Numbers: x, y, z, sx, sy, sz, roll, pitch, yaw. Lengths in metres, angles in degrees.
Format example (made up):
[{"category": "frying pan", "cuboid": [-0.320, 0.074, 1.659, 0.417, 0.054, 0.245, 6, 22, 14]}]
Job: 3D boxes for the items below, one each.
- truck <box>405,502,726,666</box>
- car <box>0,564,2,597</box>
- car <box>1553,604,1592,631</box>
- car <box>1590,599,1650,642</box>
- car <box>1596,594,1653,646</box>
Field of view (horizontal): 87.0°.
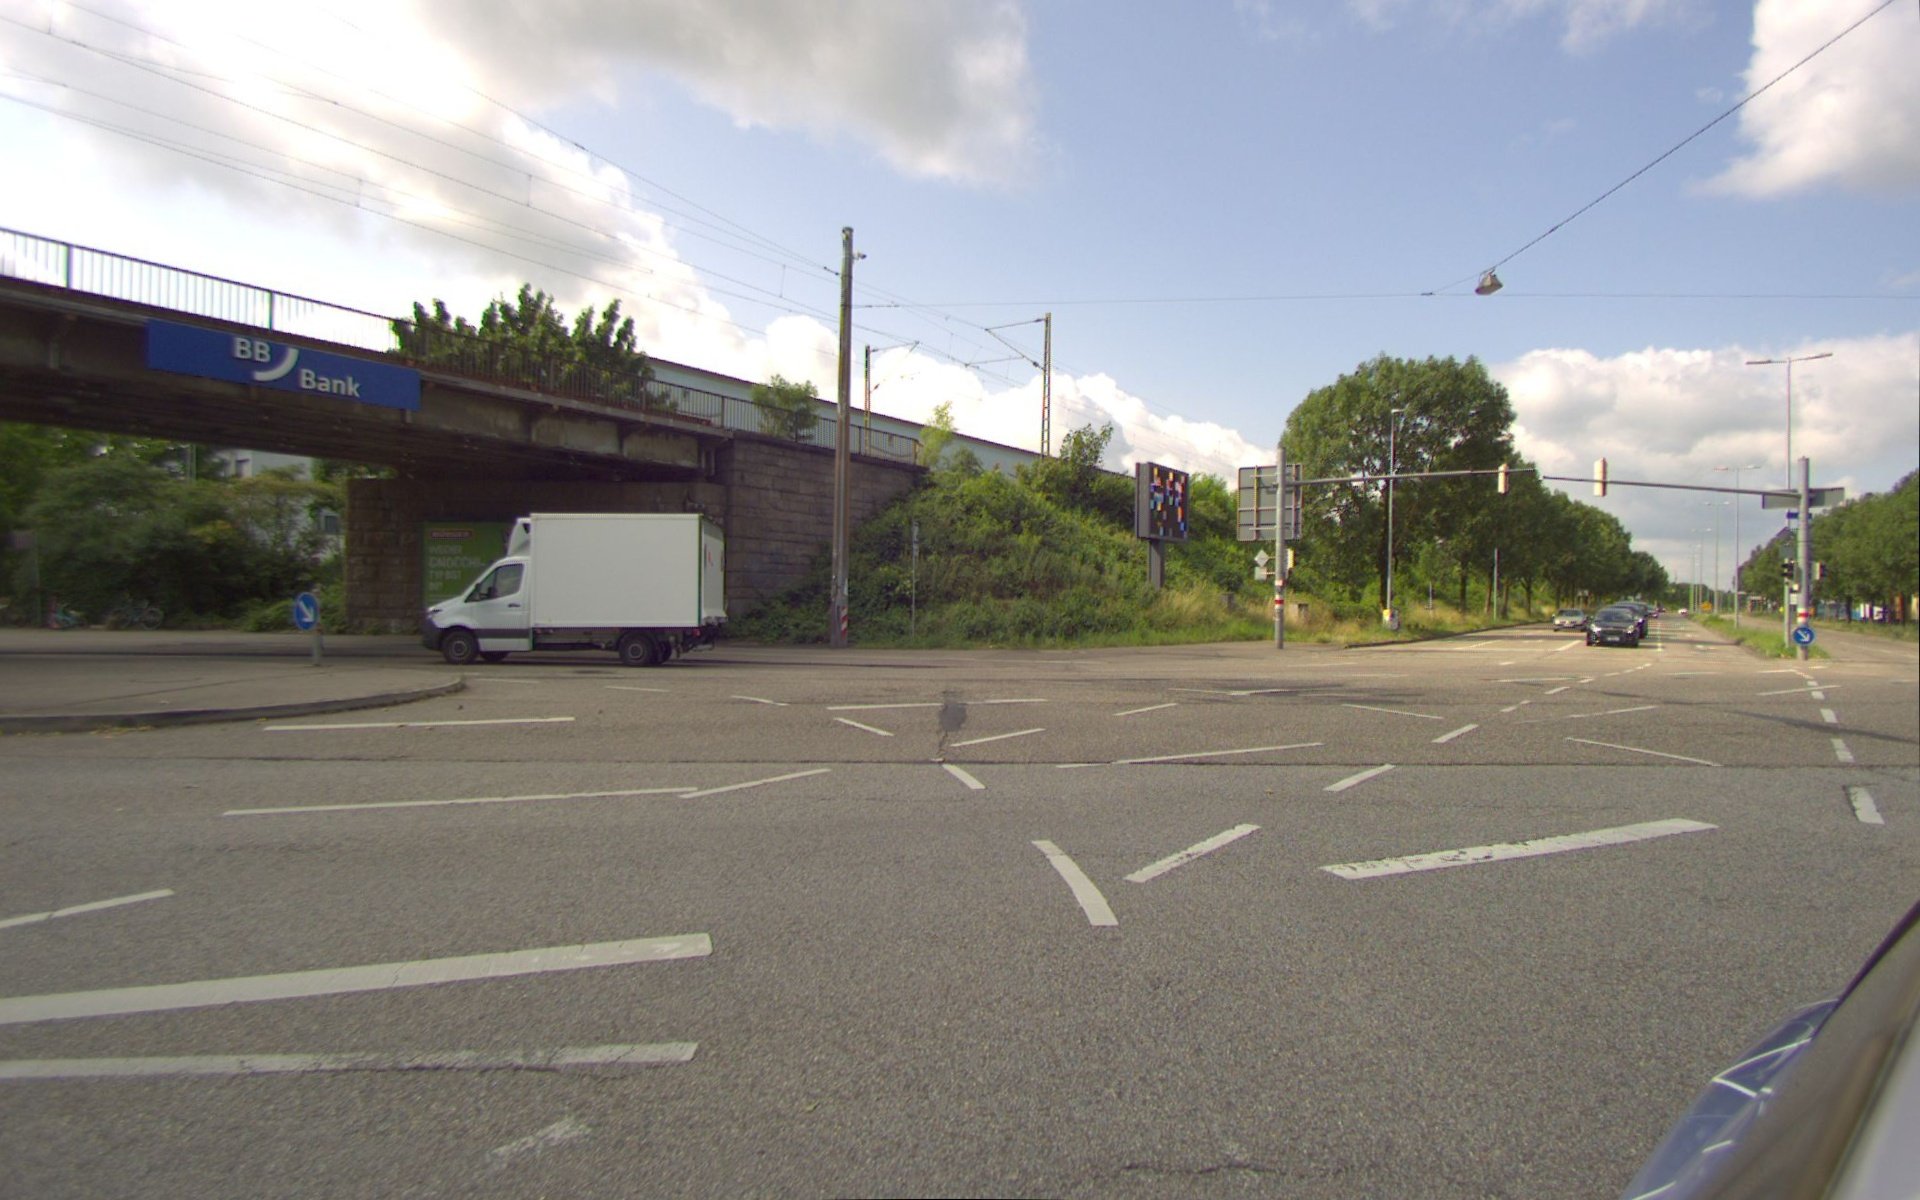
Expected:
[{"category": "truck", "cuboid": [-8.271, -0.304, 21.805, 5.909, 3.161, 2.456, 2, -1, -3]}, {"category": "car", "cuboid": [-24.265, 0.045, 22.267, 4.424, 1.926, 2.000, 2, -2, 1]}, {"category": "car", "cuboid": [36.573, 1.021, 60.379, 1.707, 1.504, 3.949, 3, 2, 35]}, {"category": "car", "cuboid": [26.244, 0.775, 40.198, 1.732, 1.538, 3.777, 2, 1, 37]}, {"category": "car", "cuboid": [29.707, 0.841, 45.263, 1.963, 1.769, 3.980, 3, 7, 34]}]
